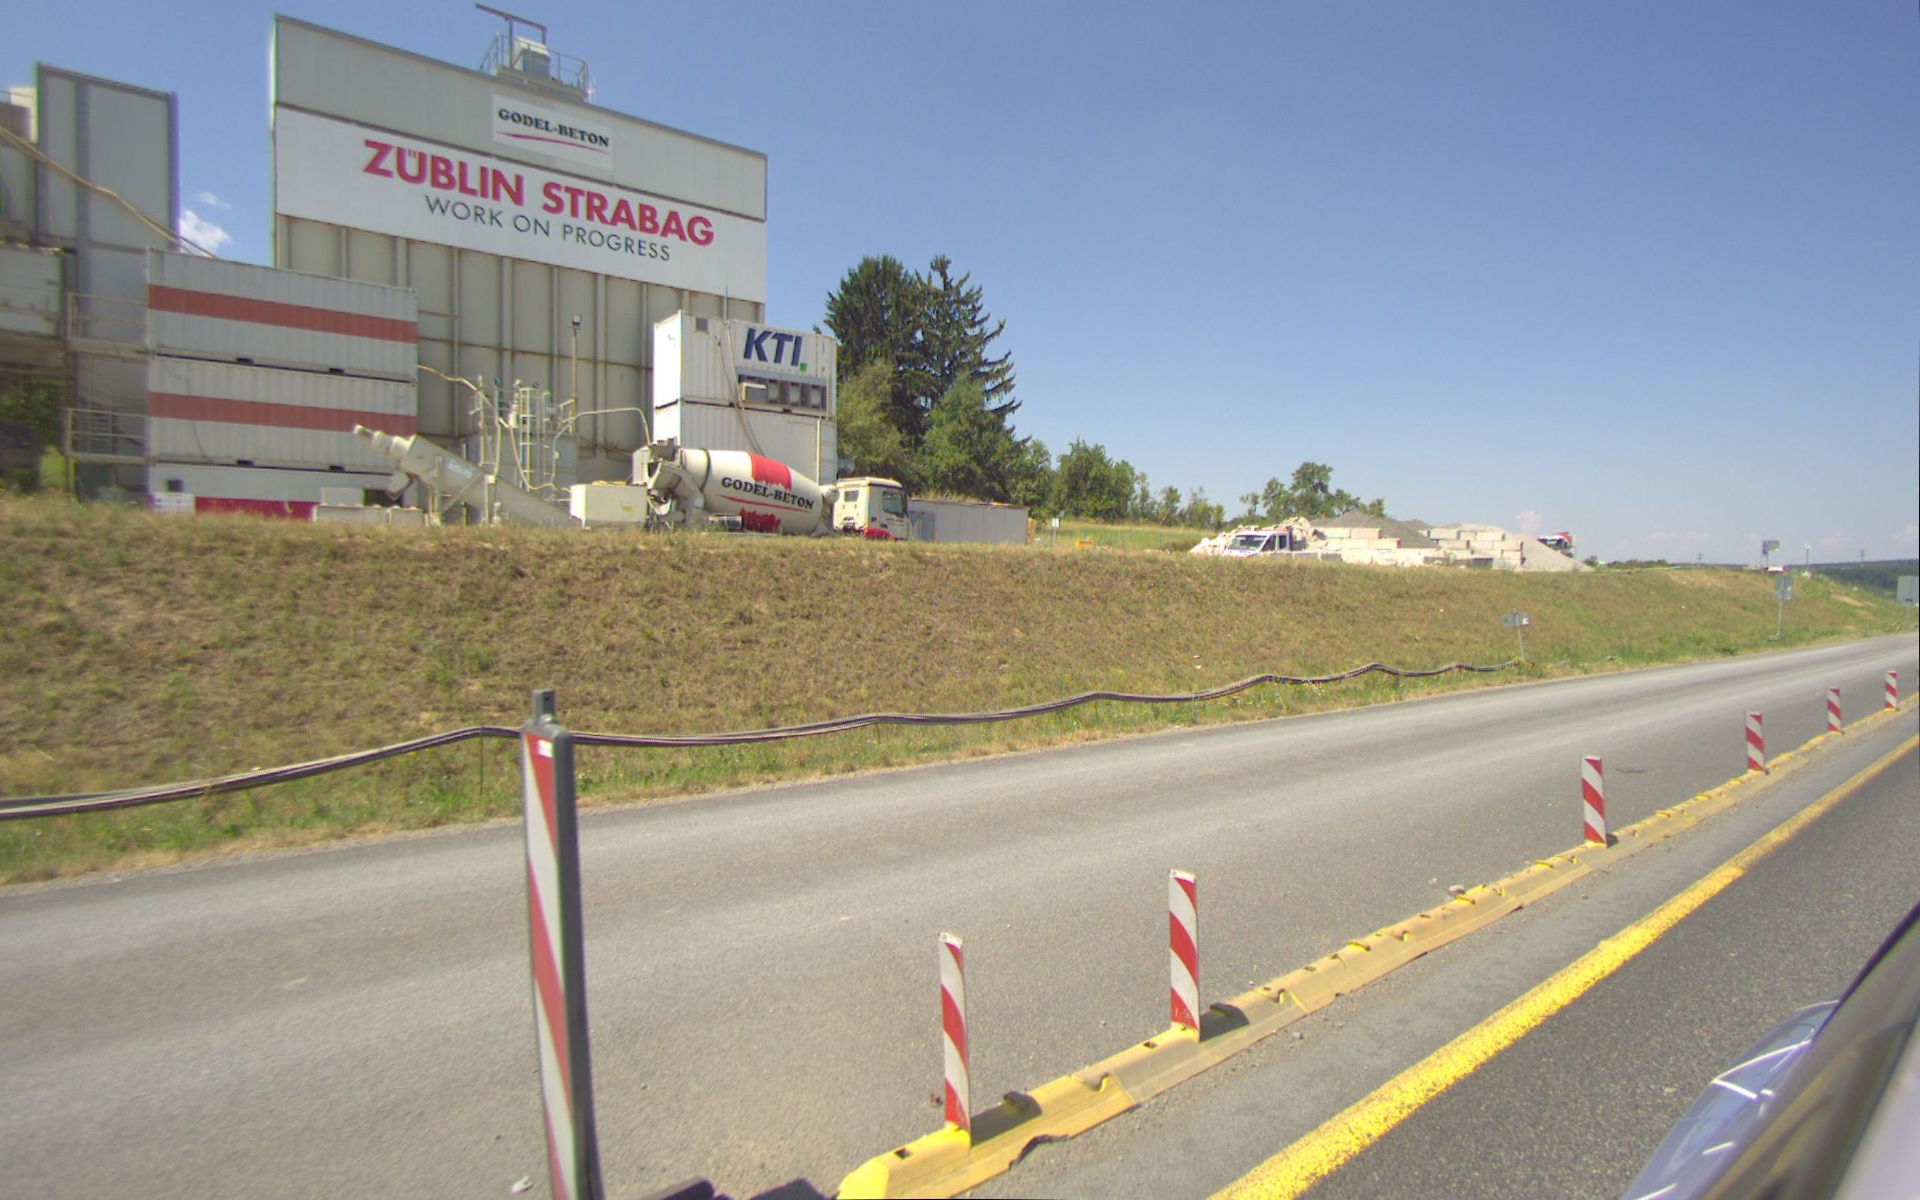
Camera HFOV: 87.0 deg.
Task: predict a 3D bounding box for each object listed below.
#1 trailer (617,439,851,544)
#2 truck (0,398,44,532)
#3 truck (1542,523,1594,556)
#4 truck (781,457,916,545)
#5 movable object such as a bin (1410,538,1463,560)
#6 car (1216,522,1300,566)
[{"bbox_3d":[-6.792,-3.180,31.035,6.809,2.678,1.999,-1,0,-38],"label":"trailer"},{"bbox_3d":[-24.495,-3.369,24.317,2.412,2.904,9.103,0,0,-34],"label":"truck"},{"bbox_3d":[60.596,-5.958,100.833,8.915,2.855,2.218,-1,0,-44],"label":"truck"},{"bbox_3d":[-3.657,-3.178,33.483,3.966,2.577,2.022,-1,0,-37],"label":"truck"},{"bbox_3d":[16.532,-1.752,35.113,2.210,0.690,0.837,-1,0,-41],"label":"movable object such as a bin"},{"bbox_3d":[13.239,-2.456,44.860,3.539,1.785,1.989,-1,0,-41],"label":"car"}]
